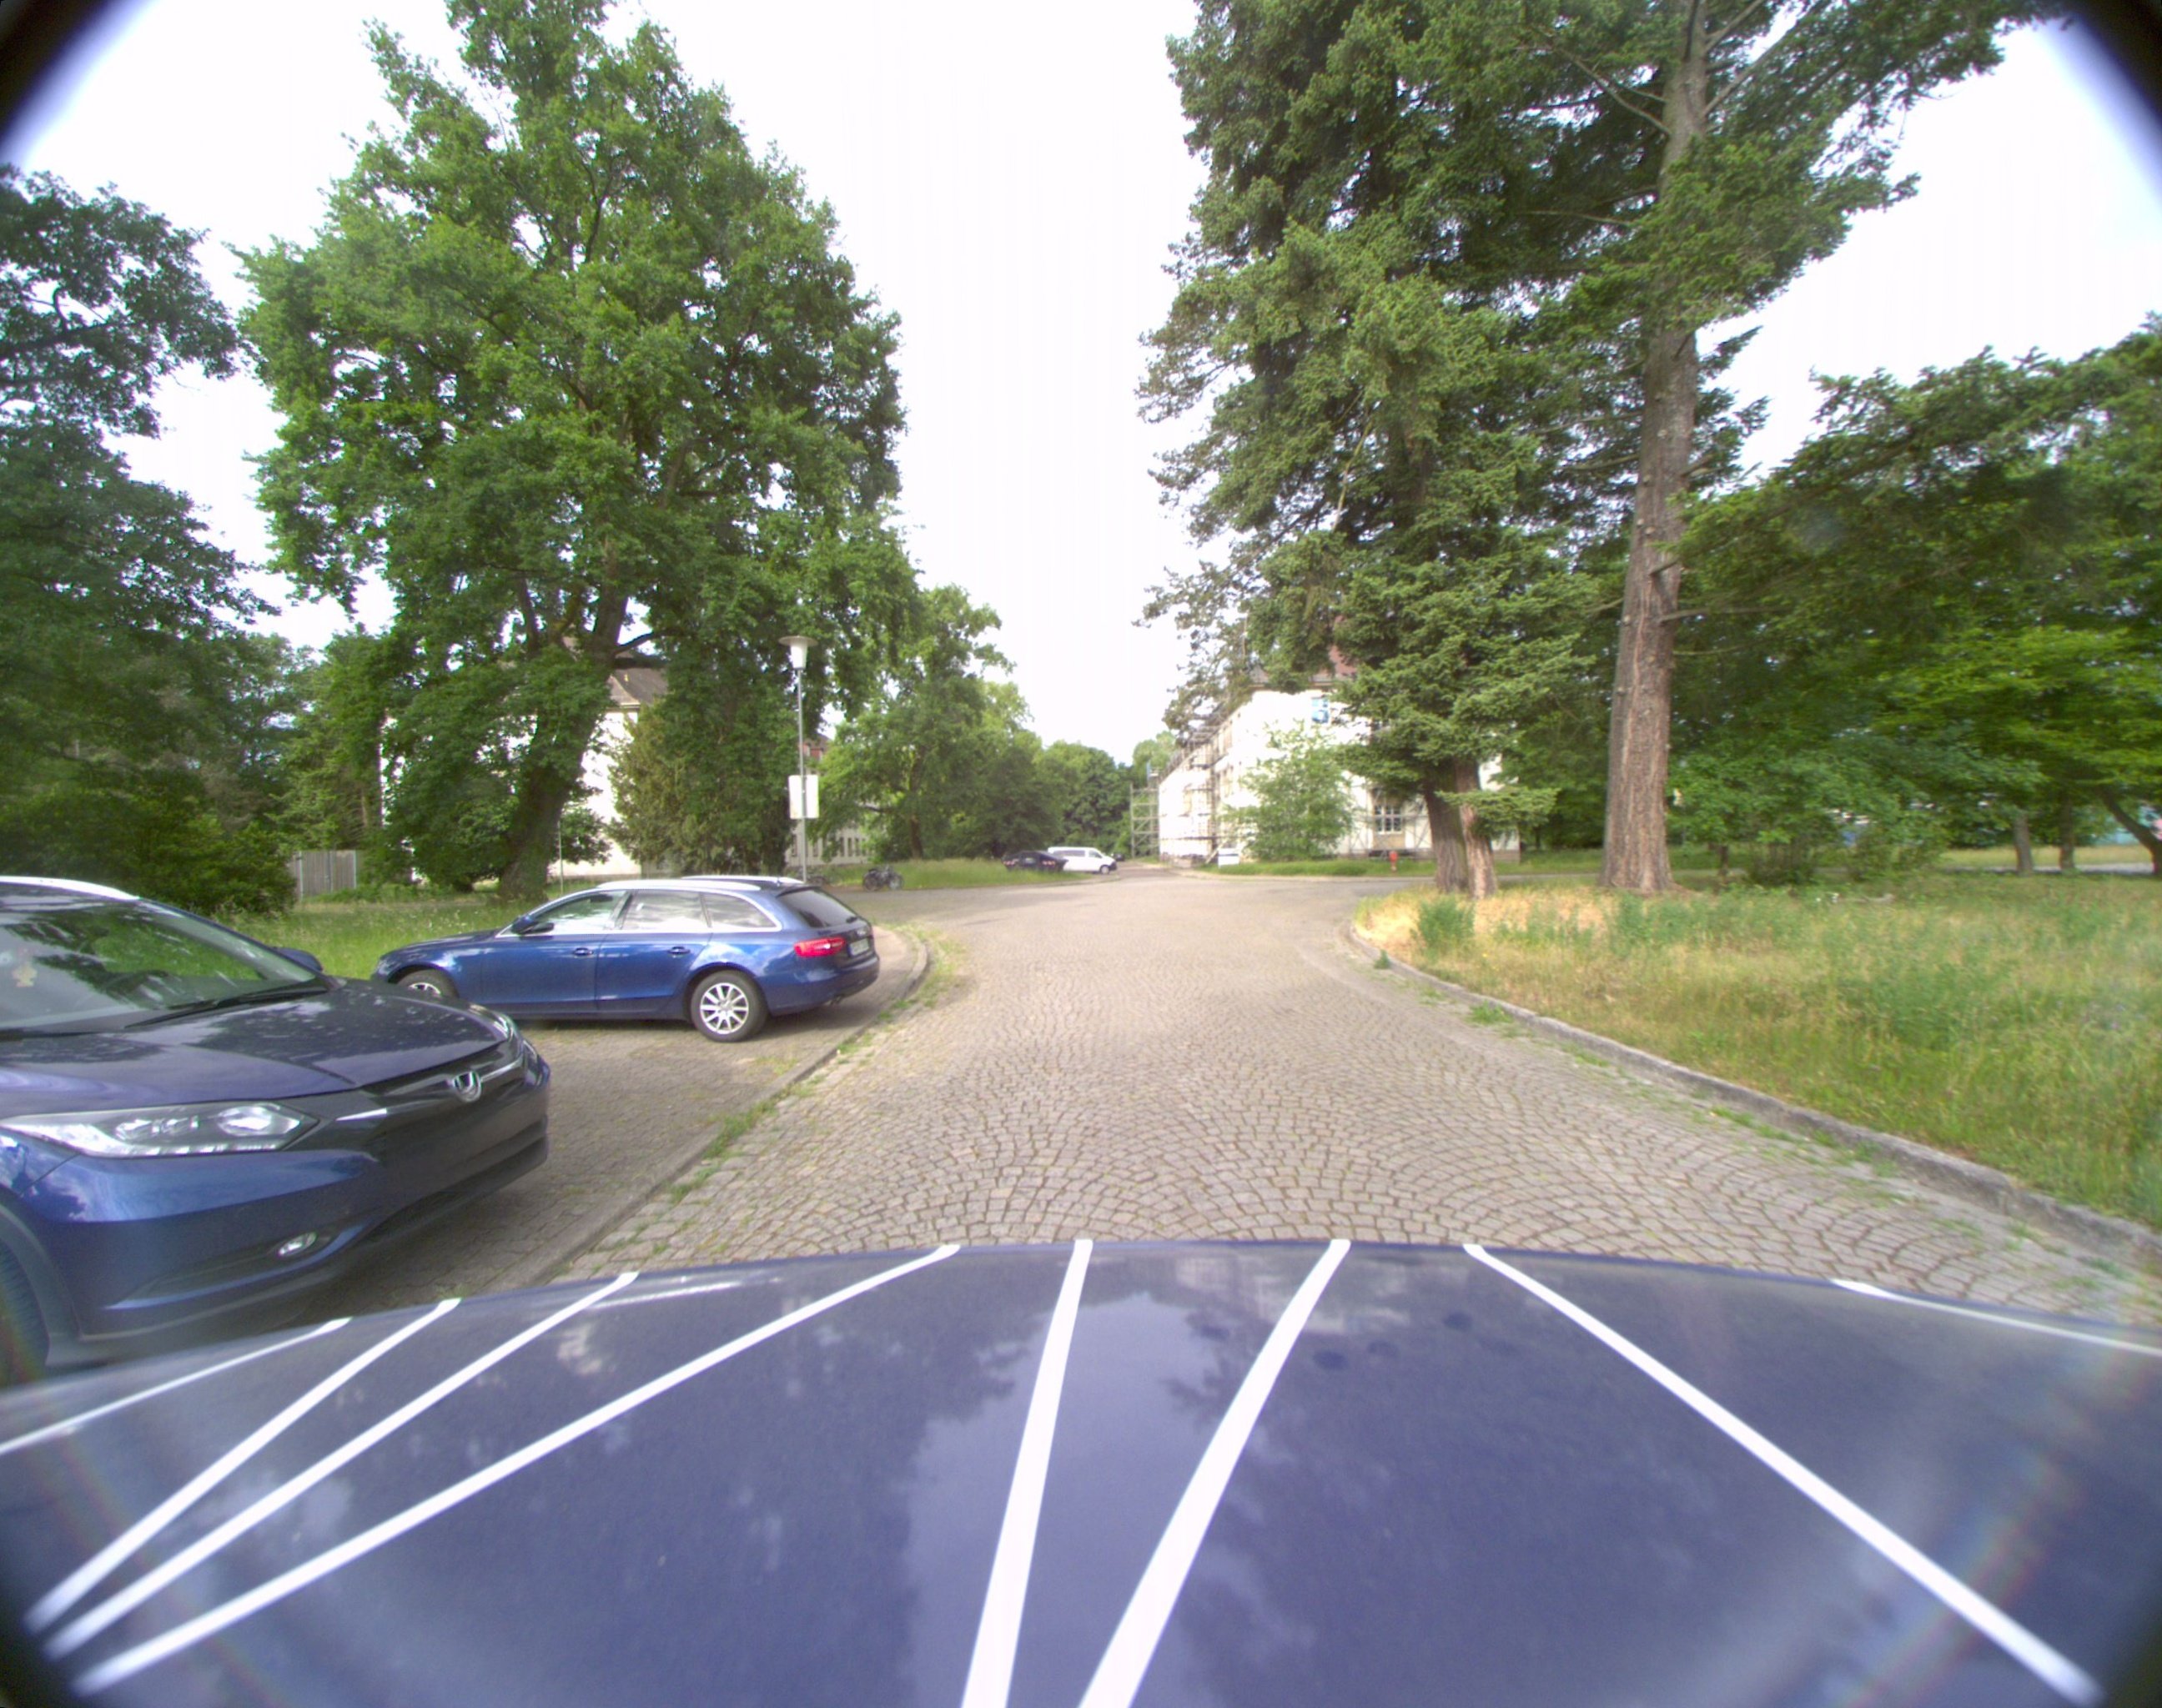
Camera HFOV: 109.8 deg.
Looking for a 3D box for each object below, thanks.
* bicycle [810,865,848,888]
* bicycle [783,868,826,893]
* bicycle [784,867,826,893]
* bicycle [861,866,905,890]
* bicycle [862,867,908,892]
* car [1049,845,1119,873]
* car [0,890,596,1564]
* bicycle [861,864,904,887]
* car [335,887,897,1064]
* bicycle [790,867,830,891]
[{"bbox_3d":[-13.546,1.213,40.806,1.859,1.116,0.620,-3,1,-23],"label":"bicycle"},{"bbox_3d":[-13.214,1.259,36.315,1.859,1.116,0.620,-3,1,-23],"label":"bicycle"},{"bbox_3d":[-13.412,1.261,36.927,1.859,1.116,0.620,-3,1,-23],"label":"bicycle"},{"bbox_3d":[-9.814,1.179,37.655,1.976,1.070,0.587,-3,1,-27],"label":"bicycle"},{"bbox_3d":[-9.306,1.210,36.072,1.976,1.070,0.587,-3,1,-27],"label":"bicycle"},{"bbox_3d":[0.212,0.345,56.312,5.101,2.007,2.054,-1,1,-1],"label":"car"},{"bbox_3d":[-4.476,1.028,2.790,4.172,1.563,1.793,-1,2,0],"label":"car"},{"bbox_3d":[-10.381,1.131,39.762,2.032,1.070,0.620,-3,1,-23],"label":"bicycle"},{"bbox_3d":[-4.296,1.093,7.489,4.480,1.413,1.785,0,1,3],"label":"car"},{"bbox_3d":[-13.762,1.257,38.587,1.859,1.116,0.620,-3,1,-23],"label":"bicycle"}]
